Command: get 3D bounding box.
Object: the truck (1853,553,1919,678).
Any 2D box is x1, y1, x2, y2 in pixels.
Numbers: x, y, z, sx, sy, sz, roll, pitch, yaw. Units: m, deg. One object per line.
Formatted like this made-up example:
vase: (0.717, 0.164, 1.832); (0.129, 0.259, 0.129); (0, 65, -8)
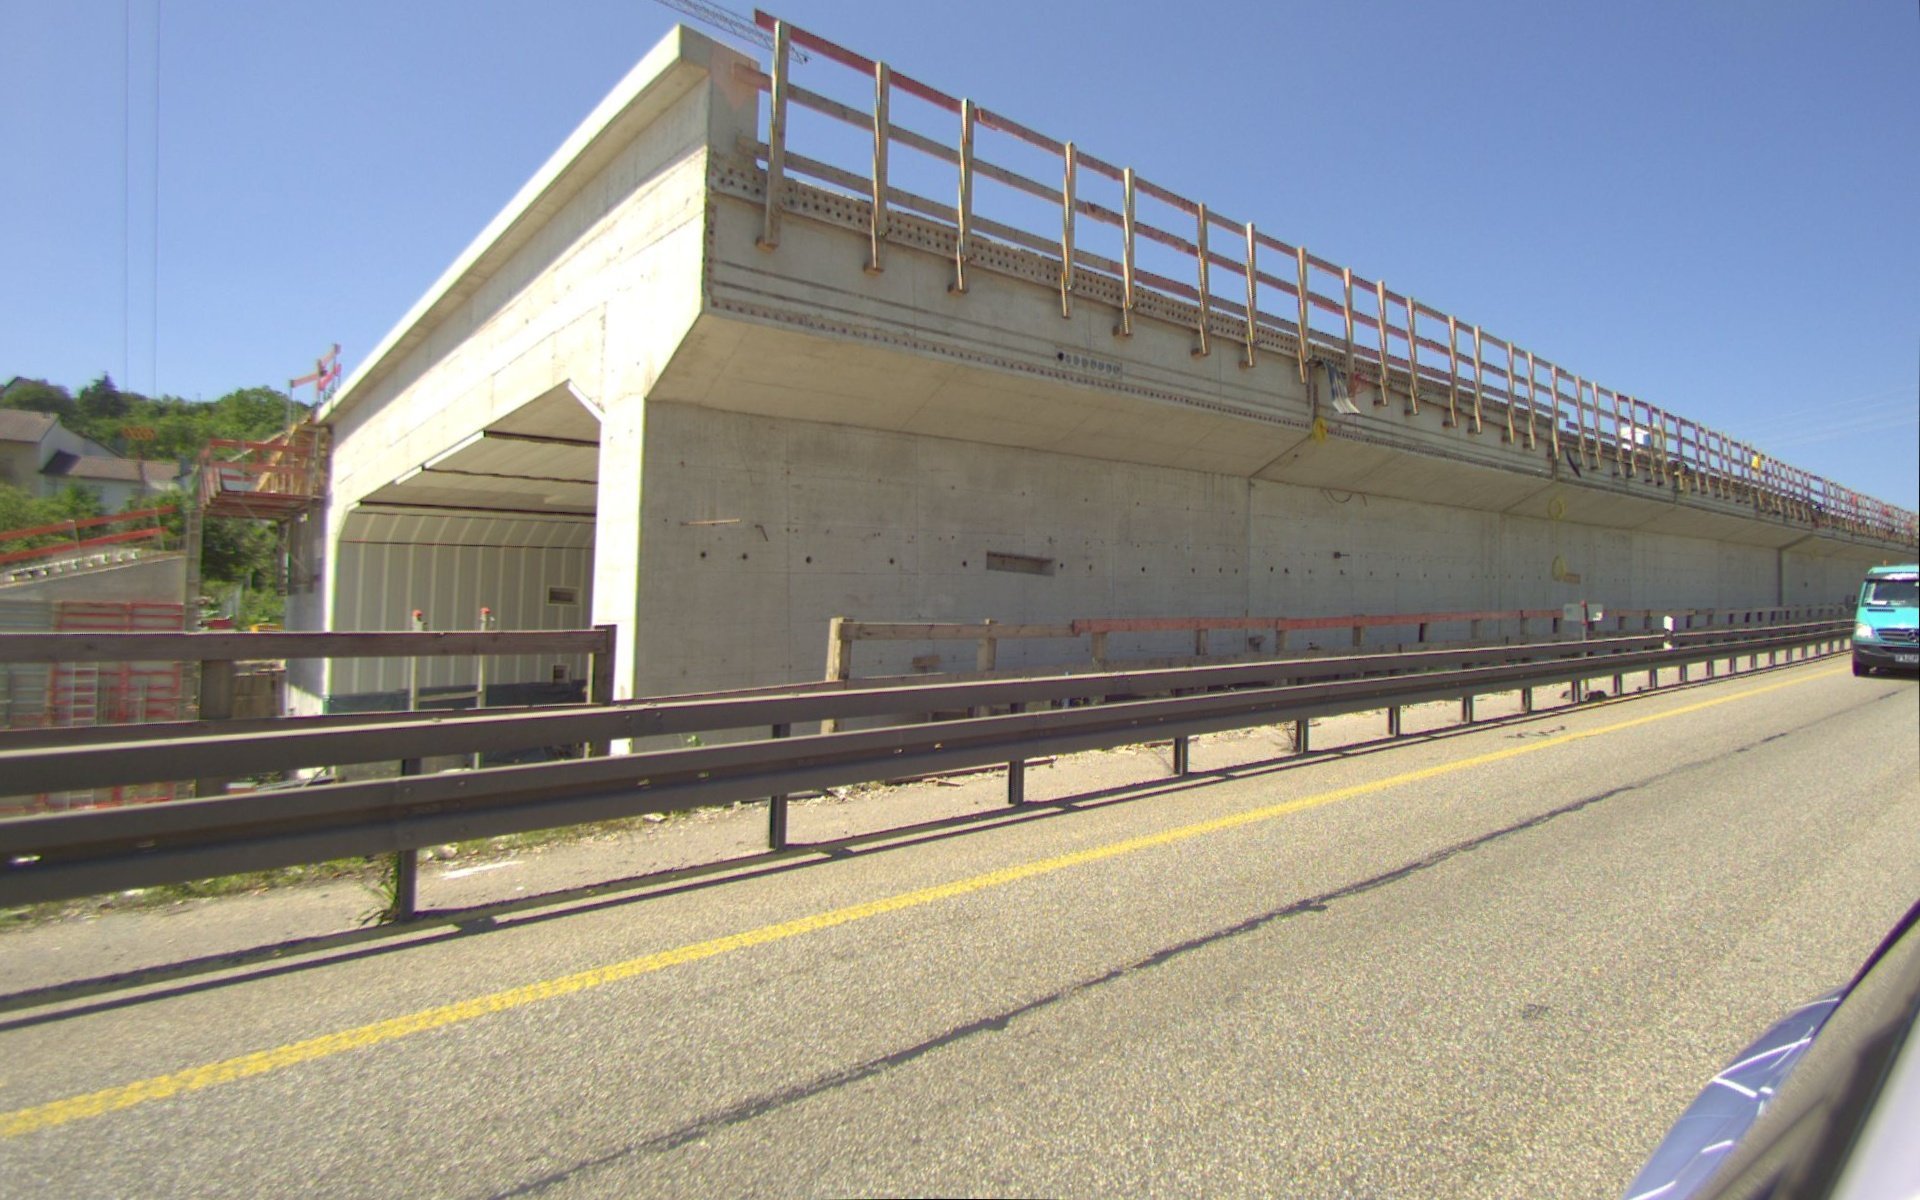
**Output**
truck: (21.264, 0.222, 21.735); (7.303, 2.386, 2.138); (-1, 1, -41)
